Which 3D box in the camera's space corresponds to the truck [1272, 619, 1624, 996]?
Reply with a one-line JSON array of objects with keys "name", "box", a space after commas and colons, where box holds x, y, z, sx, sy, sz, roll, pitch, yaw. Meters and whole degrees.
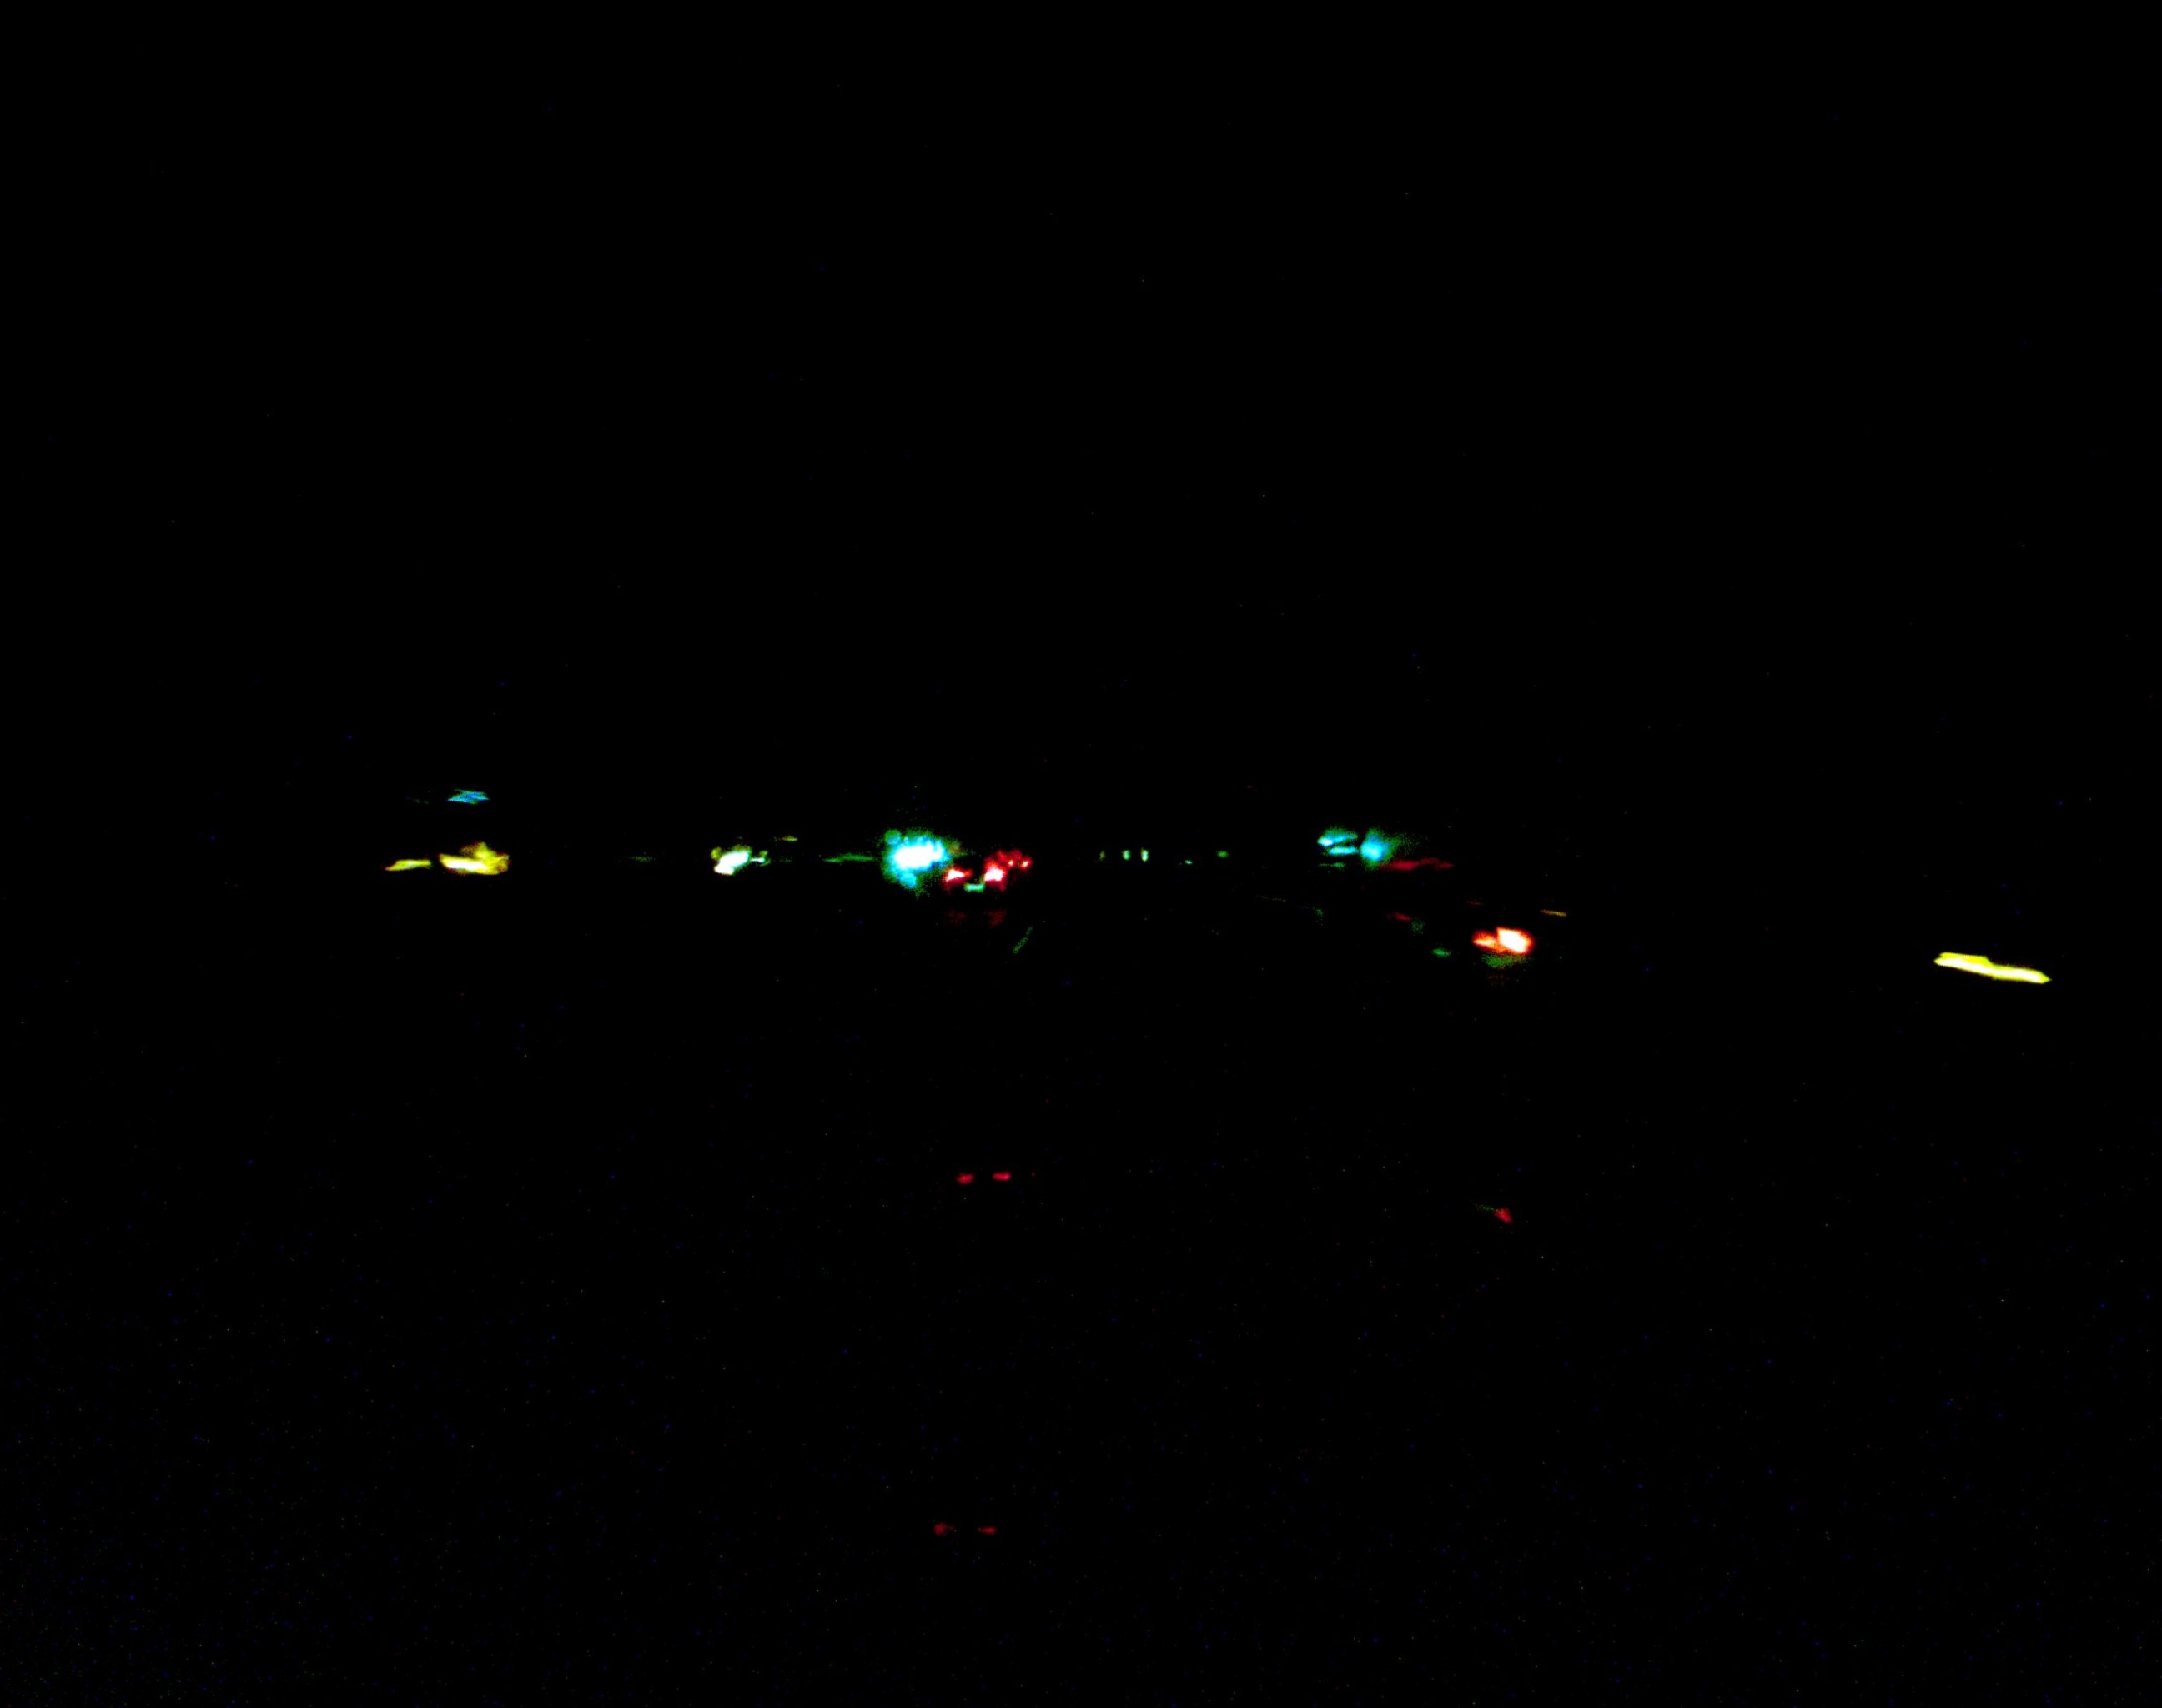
[{"name": "truck", "box": [4.871, -0.552, 12.068, 2.701, 4.241, 5.293, 3, 0, 0]}]

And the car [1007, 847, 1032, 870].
[{"name": "car", "box": [-5.930, 0.434, 78.905, 1.987, 2.013, 4.001, 3, 1, 0]}]

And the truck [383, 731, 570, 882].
[{"name": "truck", "box": [-22.886, -1.732, 31.295, 2.745, 5.097, 5.877, 3, 1, -3]}]

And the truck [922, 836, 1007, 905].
[{"name": "truck", "box": [-3.906, 0.440, 28.585, 2.139, 2.077, 6.601, -1, 2, -1]}]

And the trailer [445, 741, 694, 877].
[{"name": "trailer", "box": [-23.165, -1.925, 38.683, 2.765, 5.090, 14.924, 3, 1, -3]}]

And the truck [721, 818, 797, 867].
[{"name": "truck", "box": [-19.691, -0.673, 50.180, 2.279, 2.672, 6.117, 3, 0, -2]}]

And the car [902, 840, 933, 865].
[{"name": "car", "box": [-14.967, -0.158, 74.721, 1.990, 2.013, 5.189, 3, 1, -4]}]

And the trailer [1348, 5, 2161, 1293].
[{"name": "trailer", "box": [4.926, -0.637, 4.267, 2.730, 4.248, 13.369, 1, -1, 0]}]
